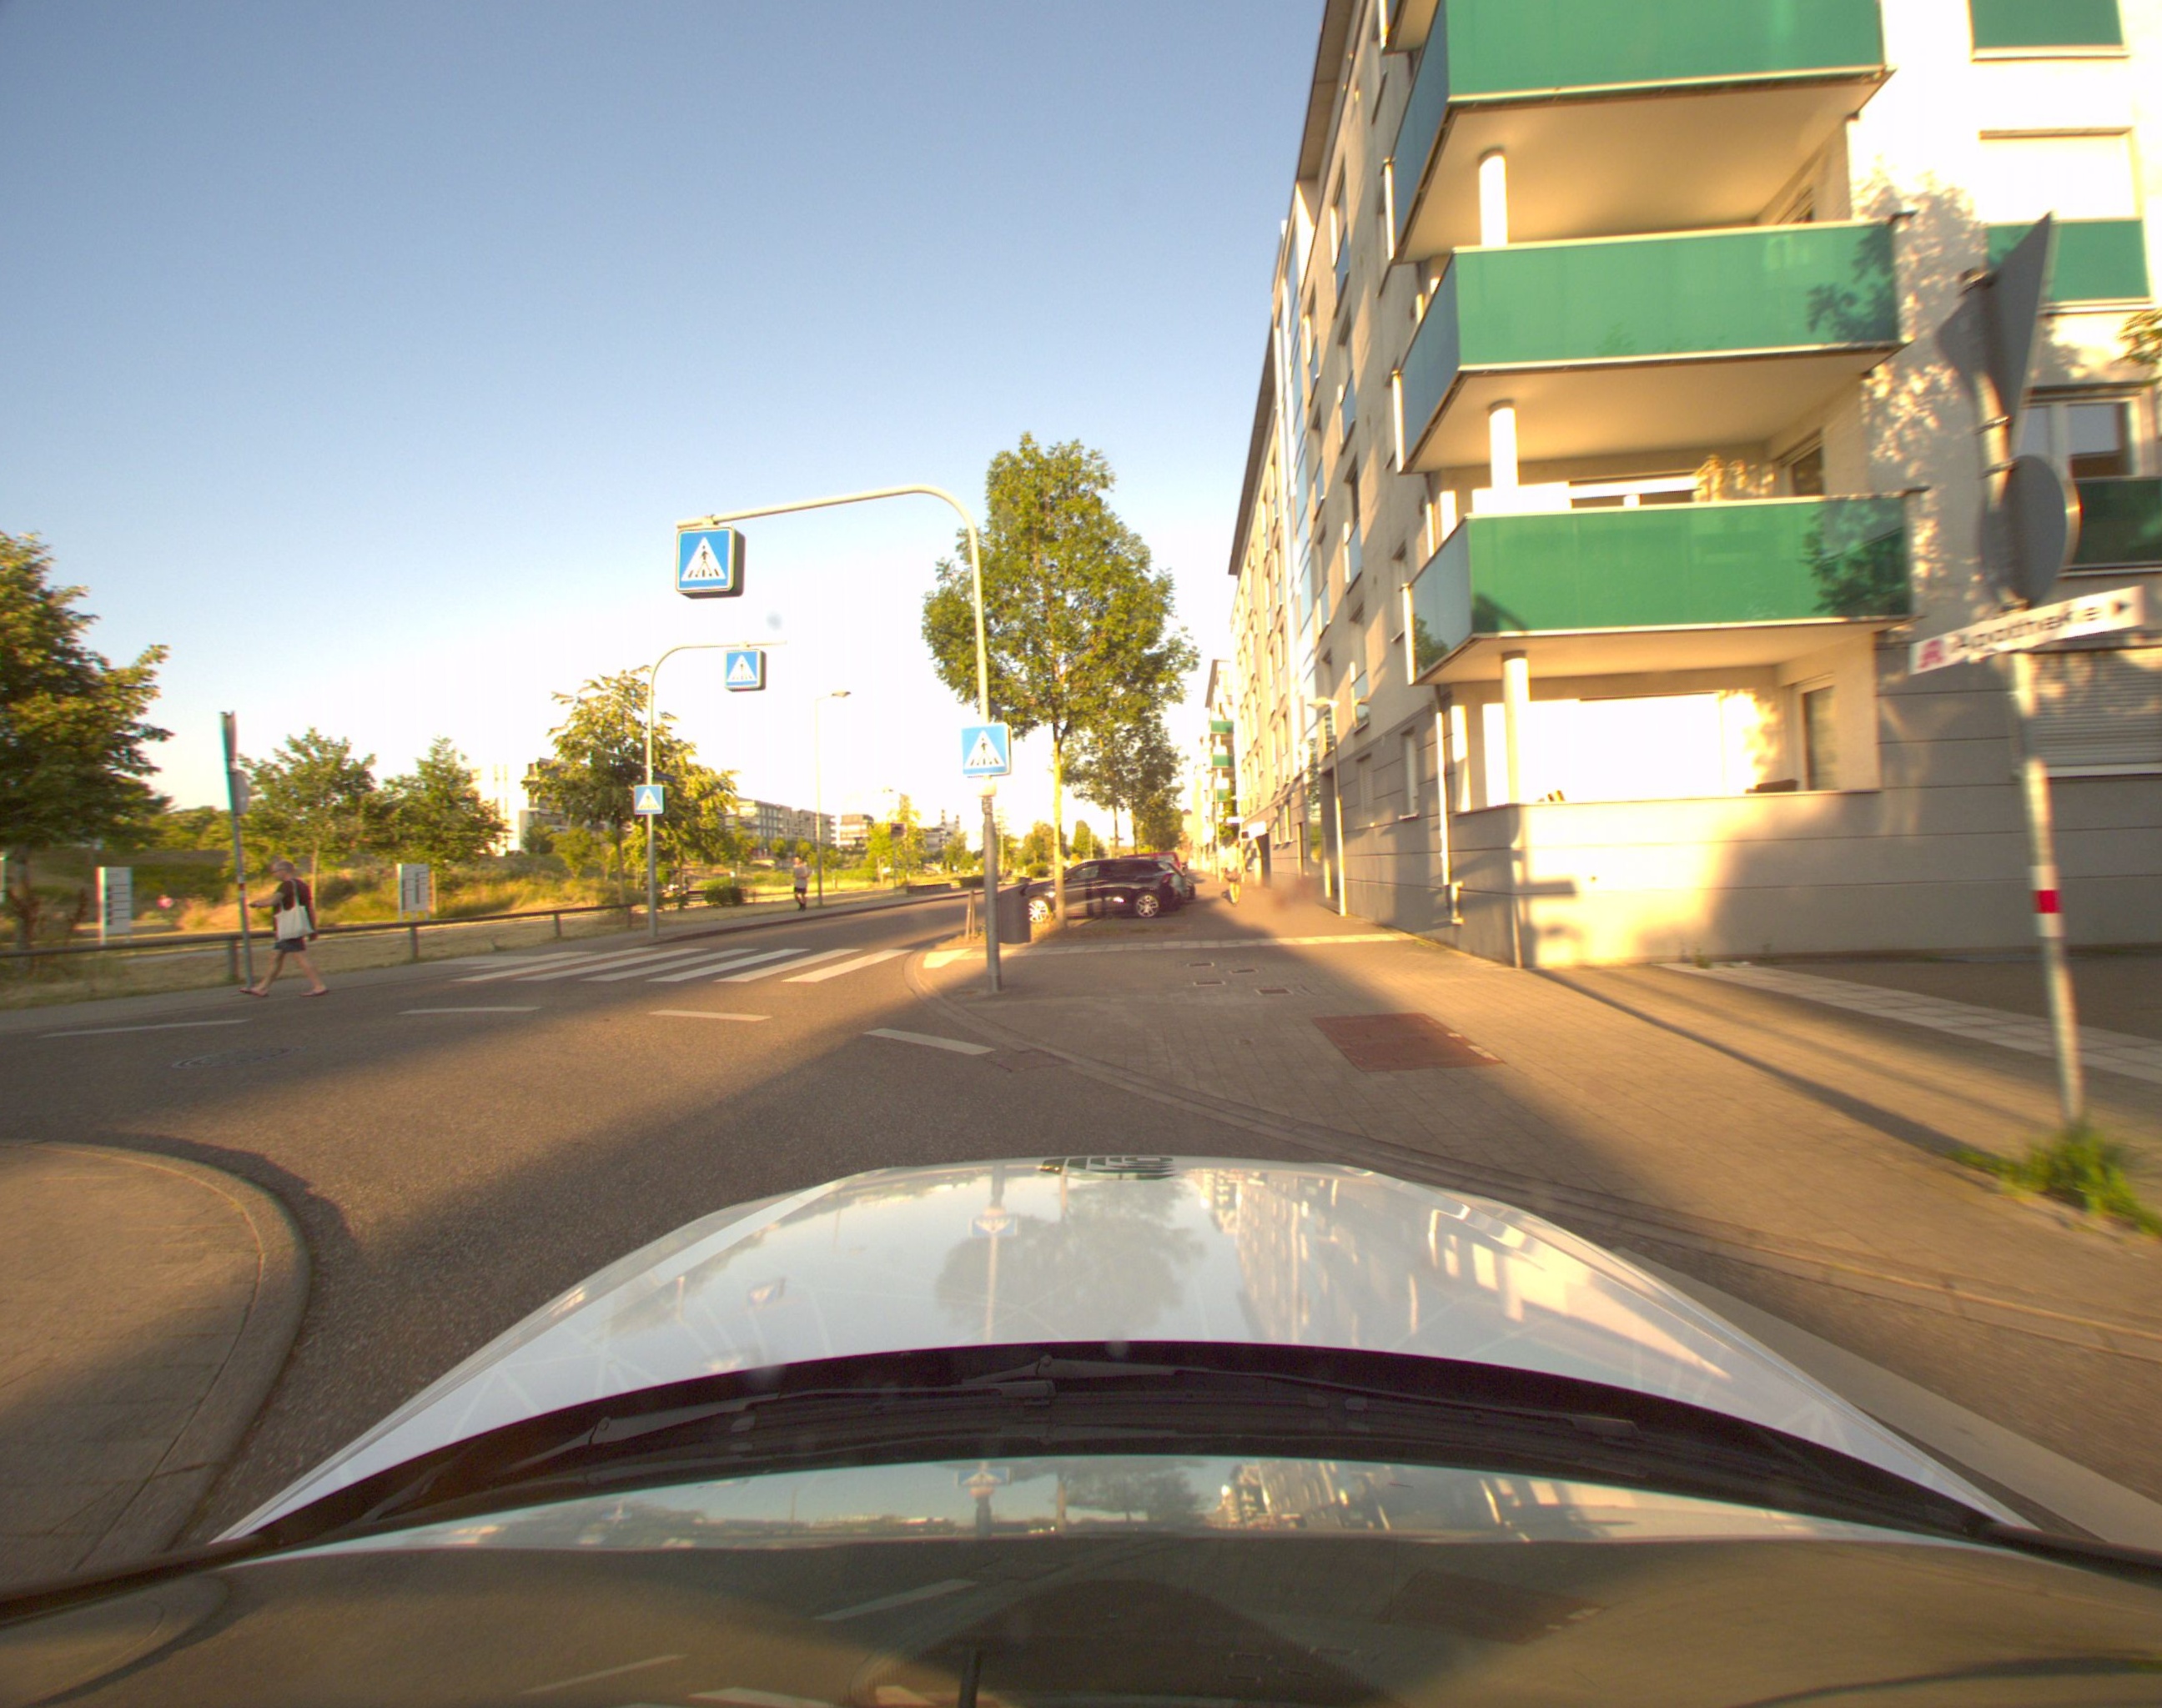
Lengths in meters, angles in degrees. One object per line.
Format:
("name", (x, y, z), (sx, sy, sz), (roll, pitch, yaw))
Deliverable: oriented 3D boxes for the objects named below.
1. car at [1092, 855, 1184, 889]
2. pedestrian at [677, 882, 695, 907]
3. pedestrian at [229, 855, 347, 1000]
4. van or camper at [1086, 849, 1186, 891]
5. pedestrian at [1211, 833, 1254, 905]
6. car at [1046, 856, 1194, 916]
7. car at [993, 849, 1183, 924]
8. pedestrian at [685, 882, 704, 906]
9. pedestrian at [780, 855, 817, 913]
("car", (2.817, 0.885, 40.424), (4.432, 1.521, 1.703), (-1, -1, 4))
("pedestrian", (-16.257, 1.668, 33.510), (0.496, 1.005, 0.482), (-1, -1, 1))
("pedestrian", (-10.175, 0.922, 10.475), (0.796, 1.784, 0.735), (-1, -1, 4))
("van or camper", (2.917, 0.832, 43.269), (5.092, 2.060, 1.879), (-1, -1, 3))
("pedestrian", (4.136, 0.409, 22.334), (0.971, 1.894, 1.051), (-3, -1, 6))
("car", (1.133, 0.884, 23.114), (3.975, 1.374, 1.561), (-4, 0, 4))
("car", (0.229, 0.802, 20.409), (4.446, 1.487, 1.835), (-4, -1, 4))
("pedestrian", (-16.256, 1.680, 34.233), (0.496, 1.005, 0.571), (-1, -1, 1))
("pedestrian", (-8.714, 0.914, 25.165), (0.760, 1.730, 0.804), (-2, -1, 10))
